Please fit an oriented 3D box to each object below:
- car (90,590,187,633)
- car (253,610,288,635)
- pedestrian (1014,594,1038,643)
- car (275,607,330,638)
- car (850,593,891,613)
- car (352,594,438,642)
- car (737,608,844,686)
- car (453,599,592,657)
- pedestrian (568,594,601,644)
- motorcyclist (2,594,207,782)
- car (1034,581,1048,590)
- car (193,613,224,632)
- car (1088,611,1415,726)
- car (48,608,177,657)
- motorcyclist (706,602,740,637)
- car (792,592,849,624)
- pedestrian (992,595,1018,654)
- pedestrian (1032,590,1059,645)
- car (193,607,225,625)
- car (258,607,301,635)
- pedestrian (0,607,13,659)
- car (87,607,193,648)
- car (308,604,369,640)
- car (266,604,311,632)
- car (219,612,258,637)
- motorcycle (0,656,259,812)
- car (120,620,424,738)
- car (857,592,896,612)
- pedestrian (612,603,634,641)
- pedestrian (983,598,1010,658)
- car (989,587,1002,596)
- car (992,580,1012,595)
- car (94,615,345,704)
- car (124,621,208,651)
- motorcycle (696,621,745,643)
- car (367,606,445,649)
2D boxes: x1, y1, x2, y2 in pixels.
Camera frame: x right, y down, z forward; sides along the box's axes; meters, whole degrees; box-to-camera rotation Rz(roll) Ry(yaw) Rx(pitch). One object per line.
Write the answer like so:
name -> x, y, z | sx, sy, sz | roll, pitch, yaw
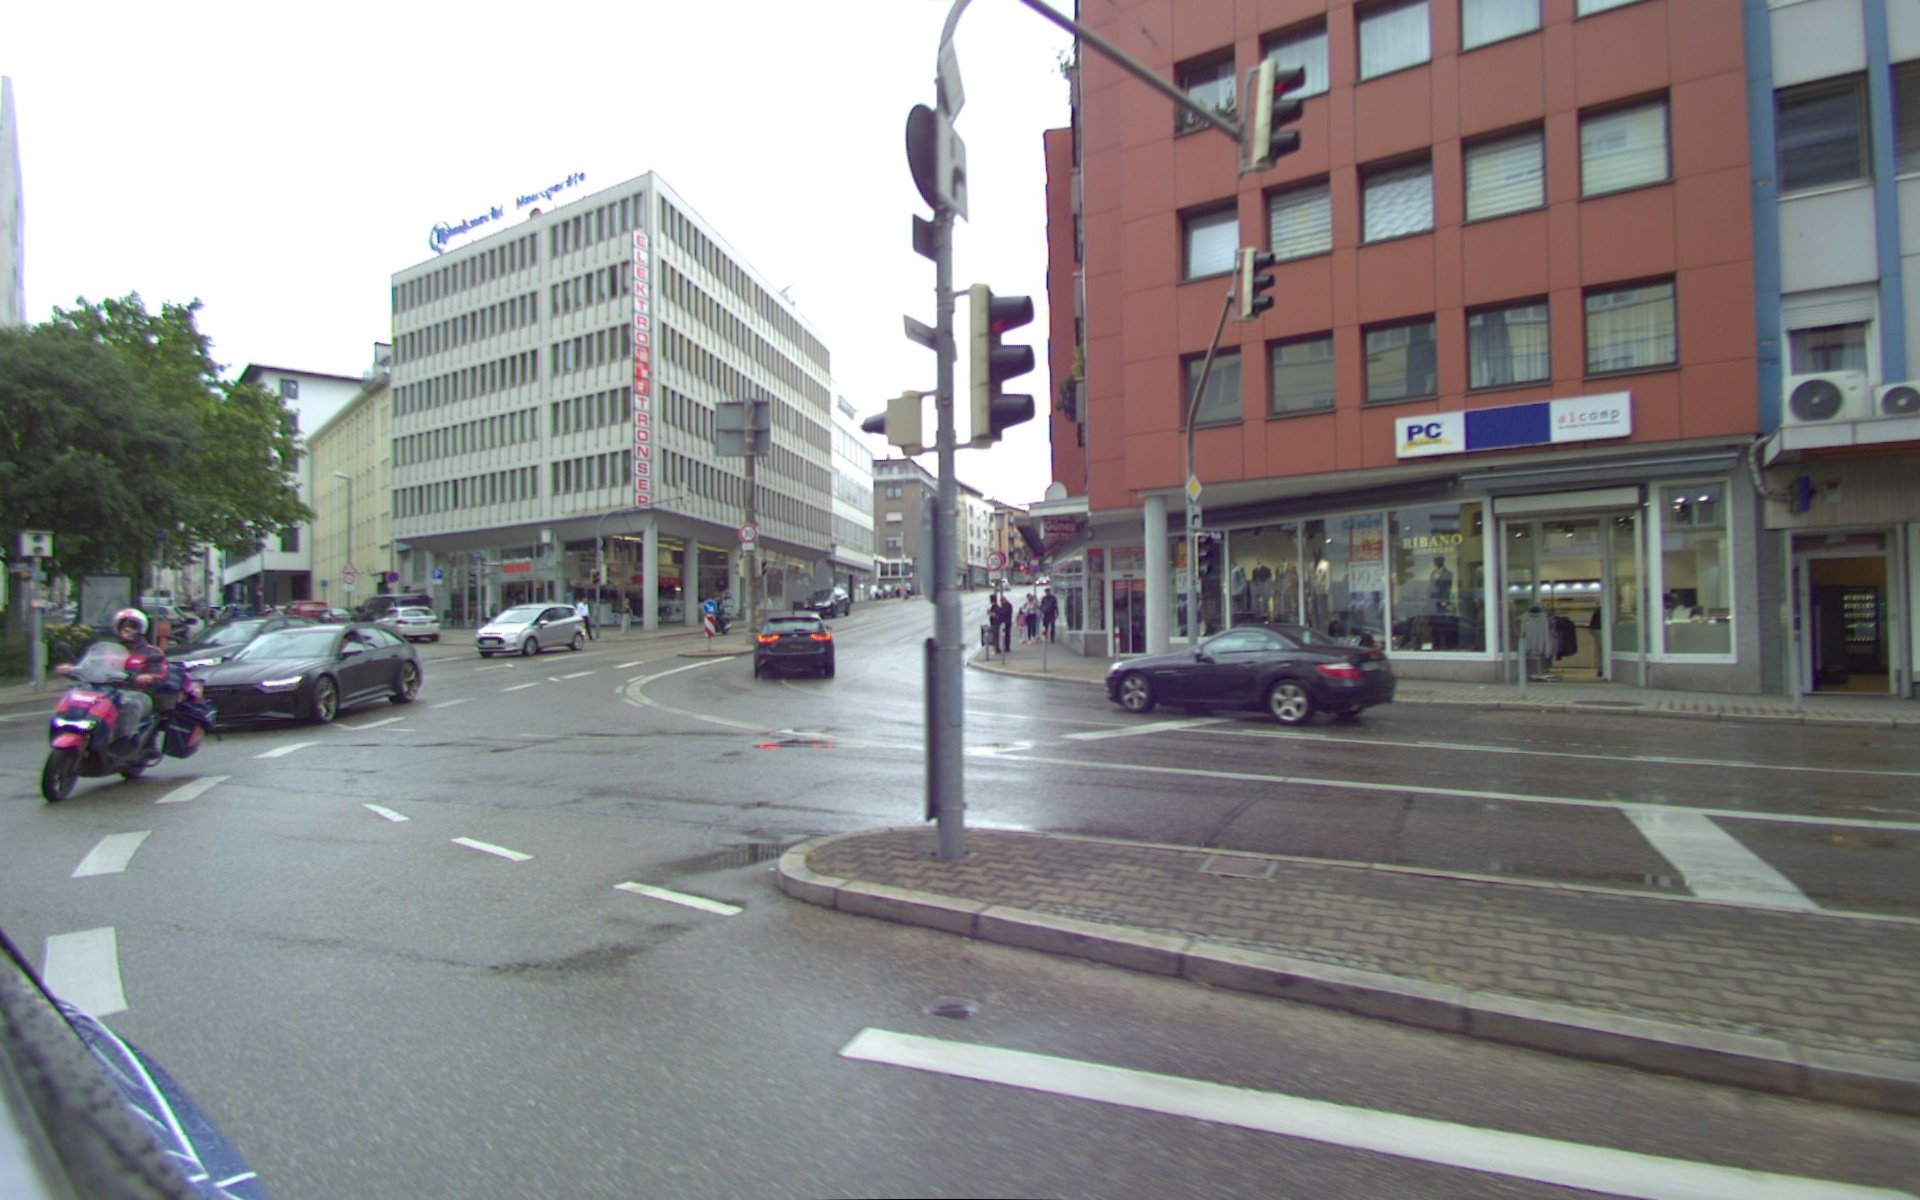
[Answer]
car -> -46.946, 0.634, 57.897 | 3.771, 2.282, 1.991 | -2, 1, -18
car -> -54.697, 1.788, 80.278 | 1.723, 1.808, 3.671 | -2, 0, -43
pedestrian -> 2.229, 0.616, 34.140 | 0.686, 1.642, 0.732 | -2, 0, 7
car -> -38.028, 1.318, 58.499 | 1.905, 1.684, 4.450 | -2, 0, -43
car -> -9.261, 0.334, 105.025 | 3.946, 1.971, 1.746 | -1, 0, 3
car -> -26.580, 0.866, 47.560 | 4.612, 2.106, 2.069 | -2, 0, 42
car -> -4.073, 1.006, 23.721 | 1.966, 1.563, 4.390 | -2, 0, -15
car -> -13.781, 0.844, 32.131 | 1.980, 1.595, 4.086 | -2, 0, 14
pedestrian -> -15.409, 0.767, 41.472 | 0.979, 2.029, 0.948 | 0, -1, -42
motorcyclist -> -7.856, 0.767, 9.352 | 1.077, 1.617, 0.954 | -1, 0, -5
car -> 13.753, -2.508, 171.490 | 1.811, 1.447, 3.839 | -2, 0, 14
car -> -76.283, 2.310, 102.741 | 1.997, 1.850, 4.432 | -2, 0, -43
car -> 3.949, 0.880, 14.193 | 1.771, 1.371, 4.063 | 1, -2, -44
car -> -31.064, 1.160, 37.217 | 3.489, 1.571, 1.744 | -2, 1, -37
motorcyclist -> -9.941, 0.816, 42.415 | 0.906, 1.453, 1.105 | -1, -1, 23
car -> -7.889, 0.440, 57.525 | 1.980, 1.696, 3.984 | -1, 0, 12
pedestrian -> 1.380, 0.738, 31.192 | 0.724, 1.761, 0.699 | -2, 0, 4
pedestrian -> 2.858, 0.569, 33.784 | 0.725, 1.760, 0.693 | -5, -1, 8
car -> -72.803, 1.556, 98.100 | 1.997, 1.661, 4.432 | -2, 0, -43
car -> -51.949, 1.603, 77.225 | 1.997, 2.008, 4.432 | -2, 0, -43
pedestrian -> -33.828, 1.177, 35.658 | 0.584, 1.827, 0.705 | -3, -1, -40
car -> -35.662, 1.175, 44.049 | 3.491, 1.571, 1.743 | -3, 2, -40
car -> -32.972, 1.173, 53.664 | 1.996, 1.763, 4.621 | -2, 0, -41
car -> -48.741, 1.316, 73.452 | 1.997, 1.916, 4.432 | -2, 0, -43
car -> -55.917, 1.895, 78.424 | 1.996, 1.854, 4.050 | -2, 0, -41
motorcycle -> -7.848, 1.163, 9.404 | 1.294, 1.144, 2.188 | -1, 0, -6
car -> -10.592, 1.117, 16.108 | 1.969, 1.502, 4.740 | -1, 0, -5
car -> -8.983, 0.253, 108.637 | 3.947, 2.029, 1.998 | -1, 0, 3
pedestrian -> -14.760, 0.960, 44.273 | 0.703, 1.635, 0.725 | 0, -1, -38
pedestrian -> 1.090, 0.827, 30.211 | 0.724, 1.761, 0.742 | -2, 0, 4
car -> 5.573, -1.355, 157.760 | 1.613, 1.383, 3.438 | -2, 0, 10
car -> 5.310, -1.559, 128.130 | 1.978, 1.751, 3.987 | -2, 0, 11
car -> -15.381, 1.171, 21.322 | 1.852, 1.559, 4.090 | -2, 0, 11
car -> -37.160, 1.669, 47.427 | 2.999, 1.191, 2.056 | -2, 1, -37
motorcycle -> -9.967, 1.326, 42.280 | 0.708, 0.848, 2.376 | -1, 0, 24
car -> -23.430, 1.168, 42.718 | 1.972, 1.643, 4.621 | -2, 0, -41
